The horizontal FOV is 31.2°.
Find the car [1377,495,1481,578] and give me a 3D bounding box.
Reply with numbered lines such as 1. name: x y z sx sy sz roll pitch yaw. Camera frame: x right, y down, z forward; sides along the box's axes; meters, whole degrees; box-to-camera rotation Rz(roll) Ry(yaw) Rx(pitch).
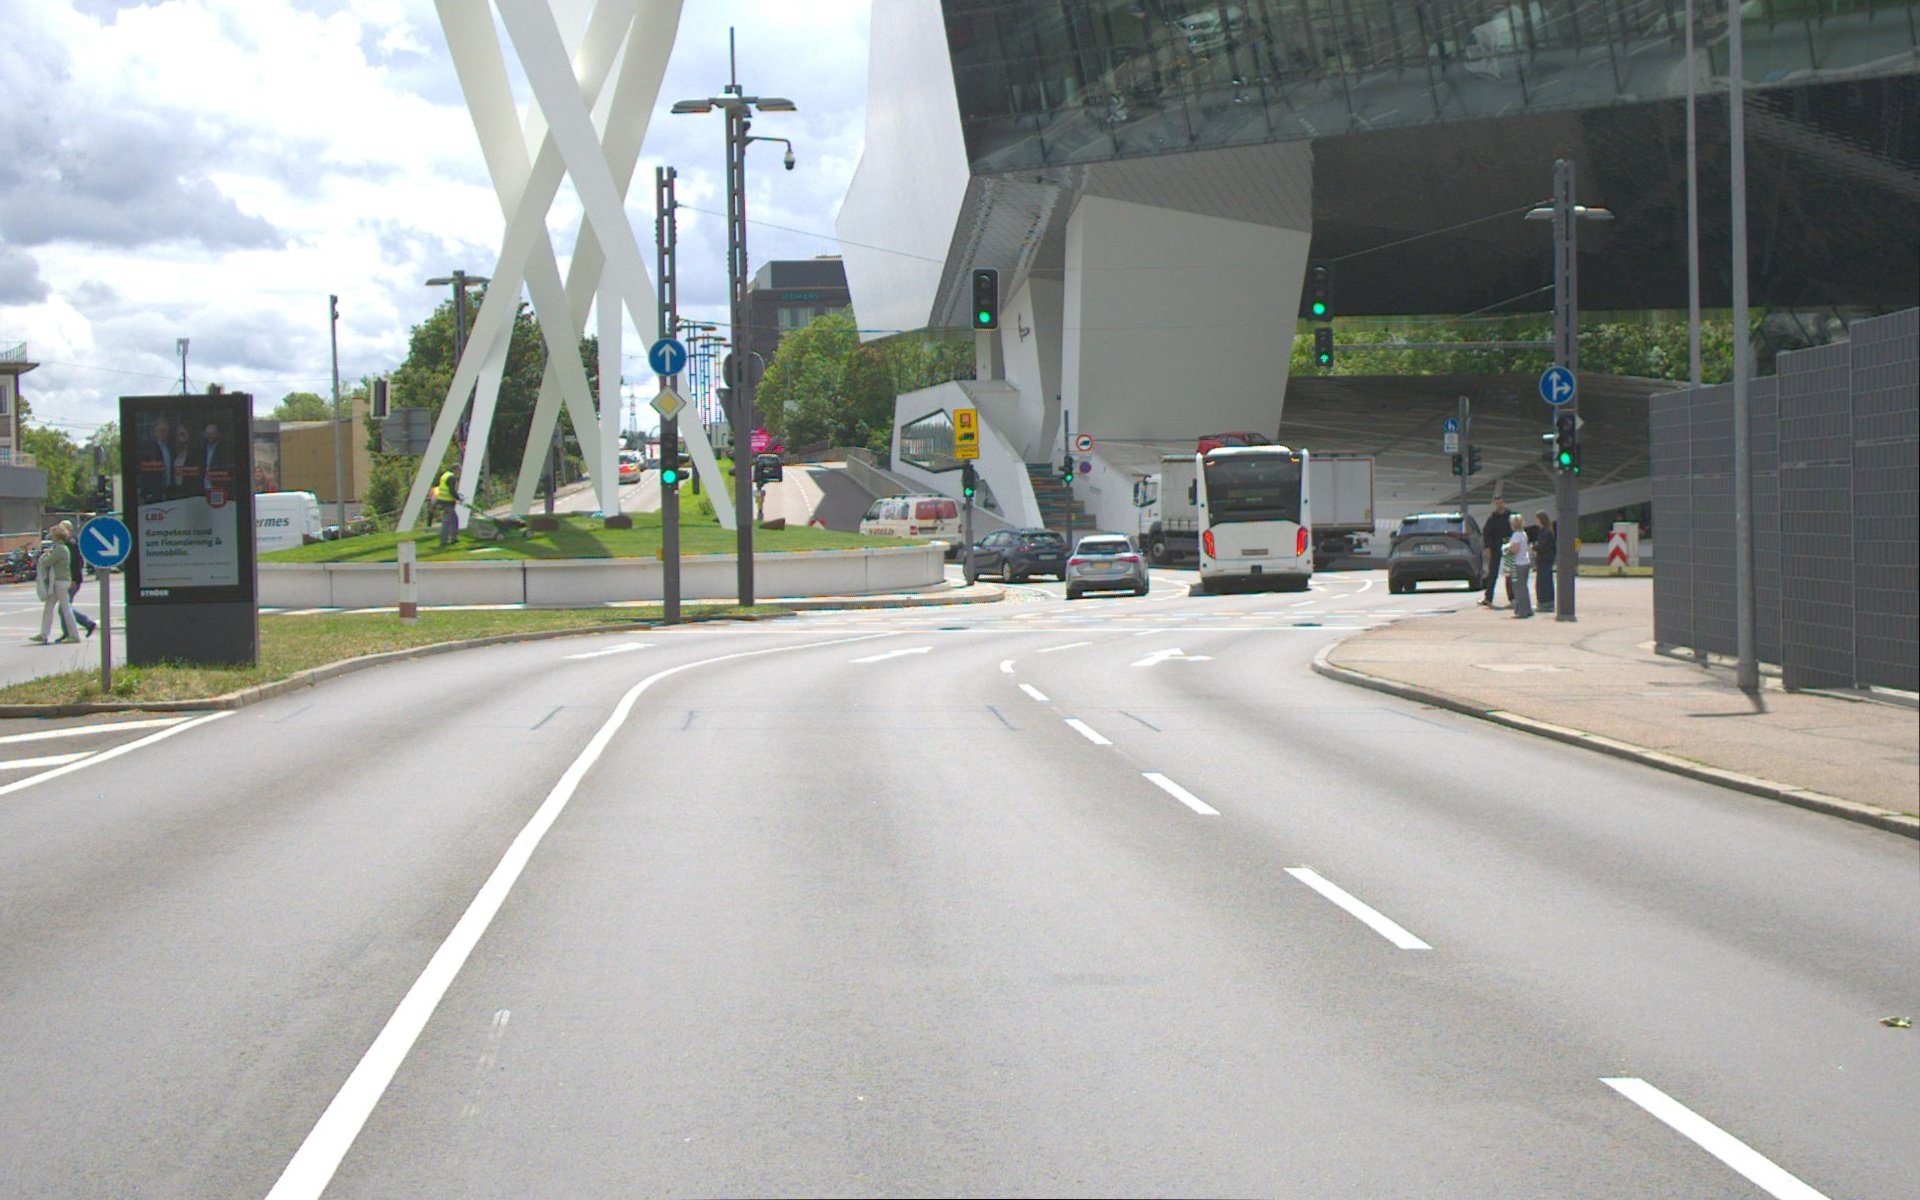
1. car: 9.646 -1.320 70.551 1.994 1.631 3.999 1 2 9

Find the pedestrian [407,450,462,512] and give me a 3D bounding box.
1. pedestrian: -12.876 -2.916 84.313 0.853 1.402 0.964 -6 -2 19

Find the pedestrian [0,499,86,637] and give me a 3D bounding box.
1. pedestrian: -13.820 -0.488 51.689 0.953 2.048 0.950 1 1 15

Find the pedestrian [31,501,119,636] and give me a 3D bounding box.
1. pedestrian: -13.549 -0.486 52.642 0.953 2.048 0.950 1 1 15

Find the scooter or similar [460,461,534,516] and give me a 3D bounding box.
1. scooter or similar: -9.777 -2.357 72.553 1.400 1.022 0.550 -5 8 -22

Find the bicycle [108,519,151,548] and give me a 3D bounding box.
1. bicycle: -28.204 -2.266 116.820 0.492 0.863 1.609 1 5 25

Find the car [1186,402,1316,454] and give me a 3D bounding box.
1. car: 10.816 -6.441 128.123 4.510 1.390 1.995 10 12 42

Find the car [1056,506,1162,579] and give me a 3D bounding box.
1. car: 3.488 -1.331 79.723 1.994 1.631 3.999 1 1 9

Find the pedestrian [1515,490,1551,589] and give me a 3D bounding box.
1. pedestrian: 9.421 -0.999 56.538 0.464 1.610 0.663 1 1 -1

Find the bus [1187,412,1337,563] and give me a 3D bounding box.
1. bus: 7.366 -2.574 82.451 3.073 3.350 12.220 1 1 7

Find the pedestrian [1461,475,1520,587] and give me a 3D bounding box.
1. pedestrian: 8.854 -1.146 57.390 0.659 1.860 0.794 0 1 -17

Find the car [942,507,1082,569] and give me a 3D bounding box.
1. car: 1.389 -1.675 93.293 1.993 1.631 4.000 0 1 -31

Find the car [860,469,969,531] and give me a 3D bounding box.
1. car: -1.476 -3.169 109.172 1.993 1.897 4.001 0 1 -25

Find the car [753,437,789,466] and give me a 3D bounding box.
1. car: -11.102 -8.754 201.987 1.993 1.630 4.656 1 3 -2

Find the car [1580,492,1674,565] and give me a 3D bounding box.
1. car: 15.397 -1.632 79.549 1.994 1.631 3.999 1 1 9

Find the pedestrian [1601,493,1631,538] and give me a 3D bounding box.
1. pedestrian: 23.095 -2.970 121.013 0.829 1.567 0.922 1 1 24

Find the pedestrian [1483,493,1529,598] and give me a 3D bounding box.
1. pedestrian: 8.493 -0.848 53.510 0.659 1.602 0.823 1 1 8

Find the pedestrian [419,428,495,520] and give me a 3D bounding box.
1. pedestrian: -10.549 -2.648 72.078 1.281 1.810 0.987 -5 6 -19

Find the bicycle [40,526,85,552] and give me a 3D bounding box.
1. bicycle: -31.133 -2.113 119.219 0.492 0.863 1.608 1 1 32

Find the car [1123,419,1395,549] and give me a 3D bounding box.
1. car: 8.388 -3.225 98.106 3.335 3.492 9.343 0 1 -26

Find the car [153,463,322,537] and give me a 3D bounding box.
1. car: -21.775 -3.013 103.704 4.640 2.163 2.000 1 1 1
